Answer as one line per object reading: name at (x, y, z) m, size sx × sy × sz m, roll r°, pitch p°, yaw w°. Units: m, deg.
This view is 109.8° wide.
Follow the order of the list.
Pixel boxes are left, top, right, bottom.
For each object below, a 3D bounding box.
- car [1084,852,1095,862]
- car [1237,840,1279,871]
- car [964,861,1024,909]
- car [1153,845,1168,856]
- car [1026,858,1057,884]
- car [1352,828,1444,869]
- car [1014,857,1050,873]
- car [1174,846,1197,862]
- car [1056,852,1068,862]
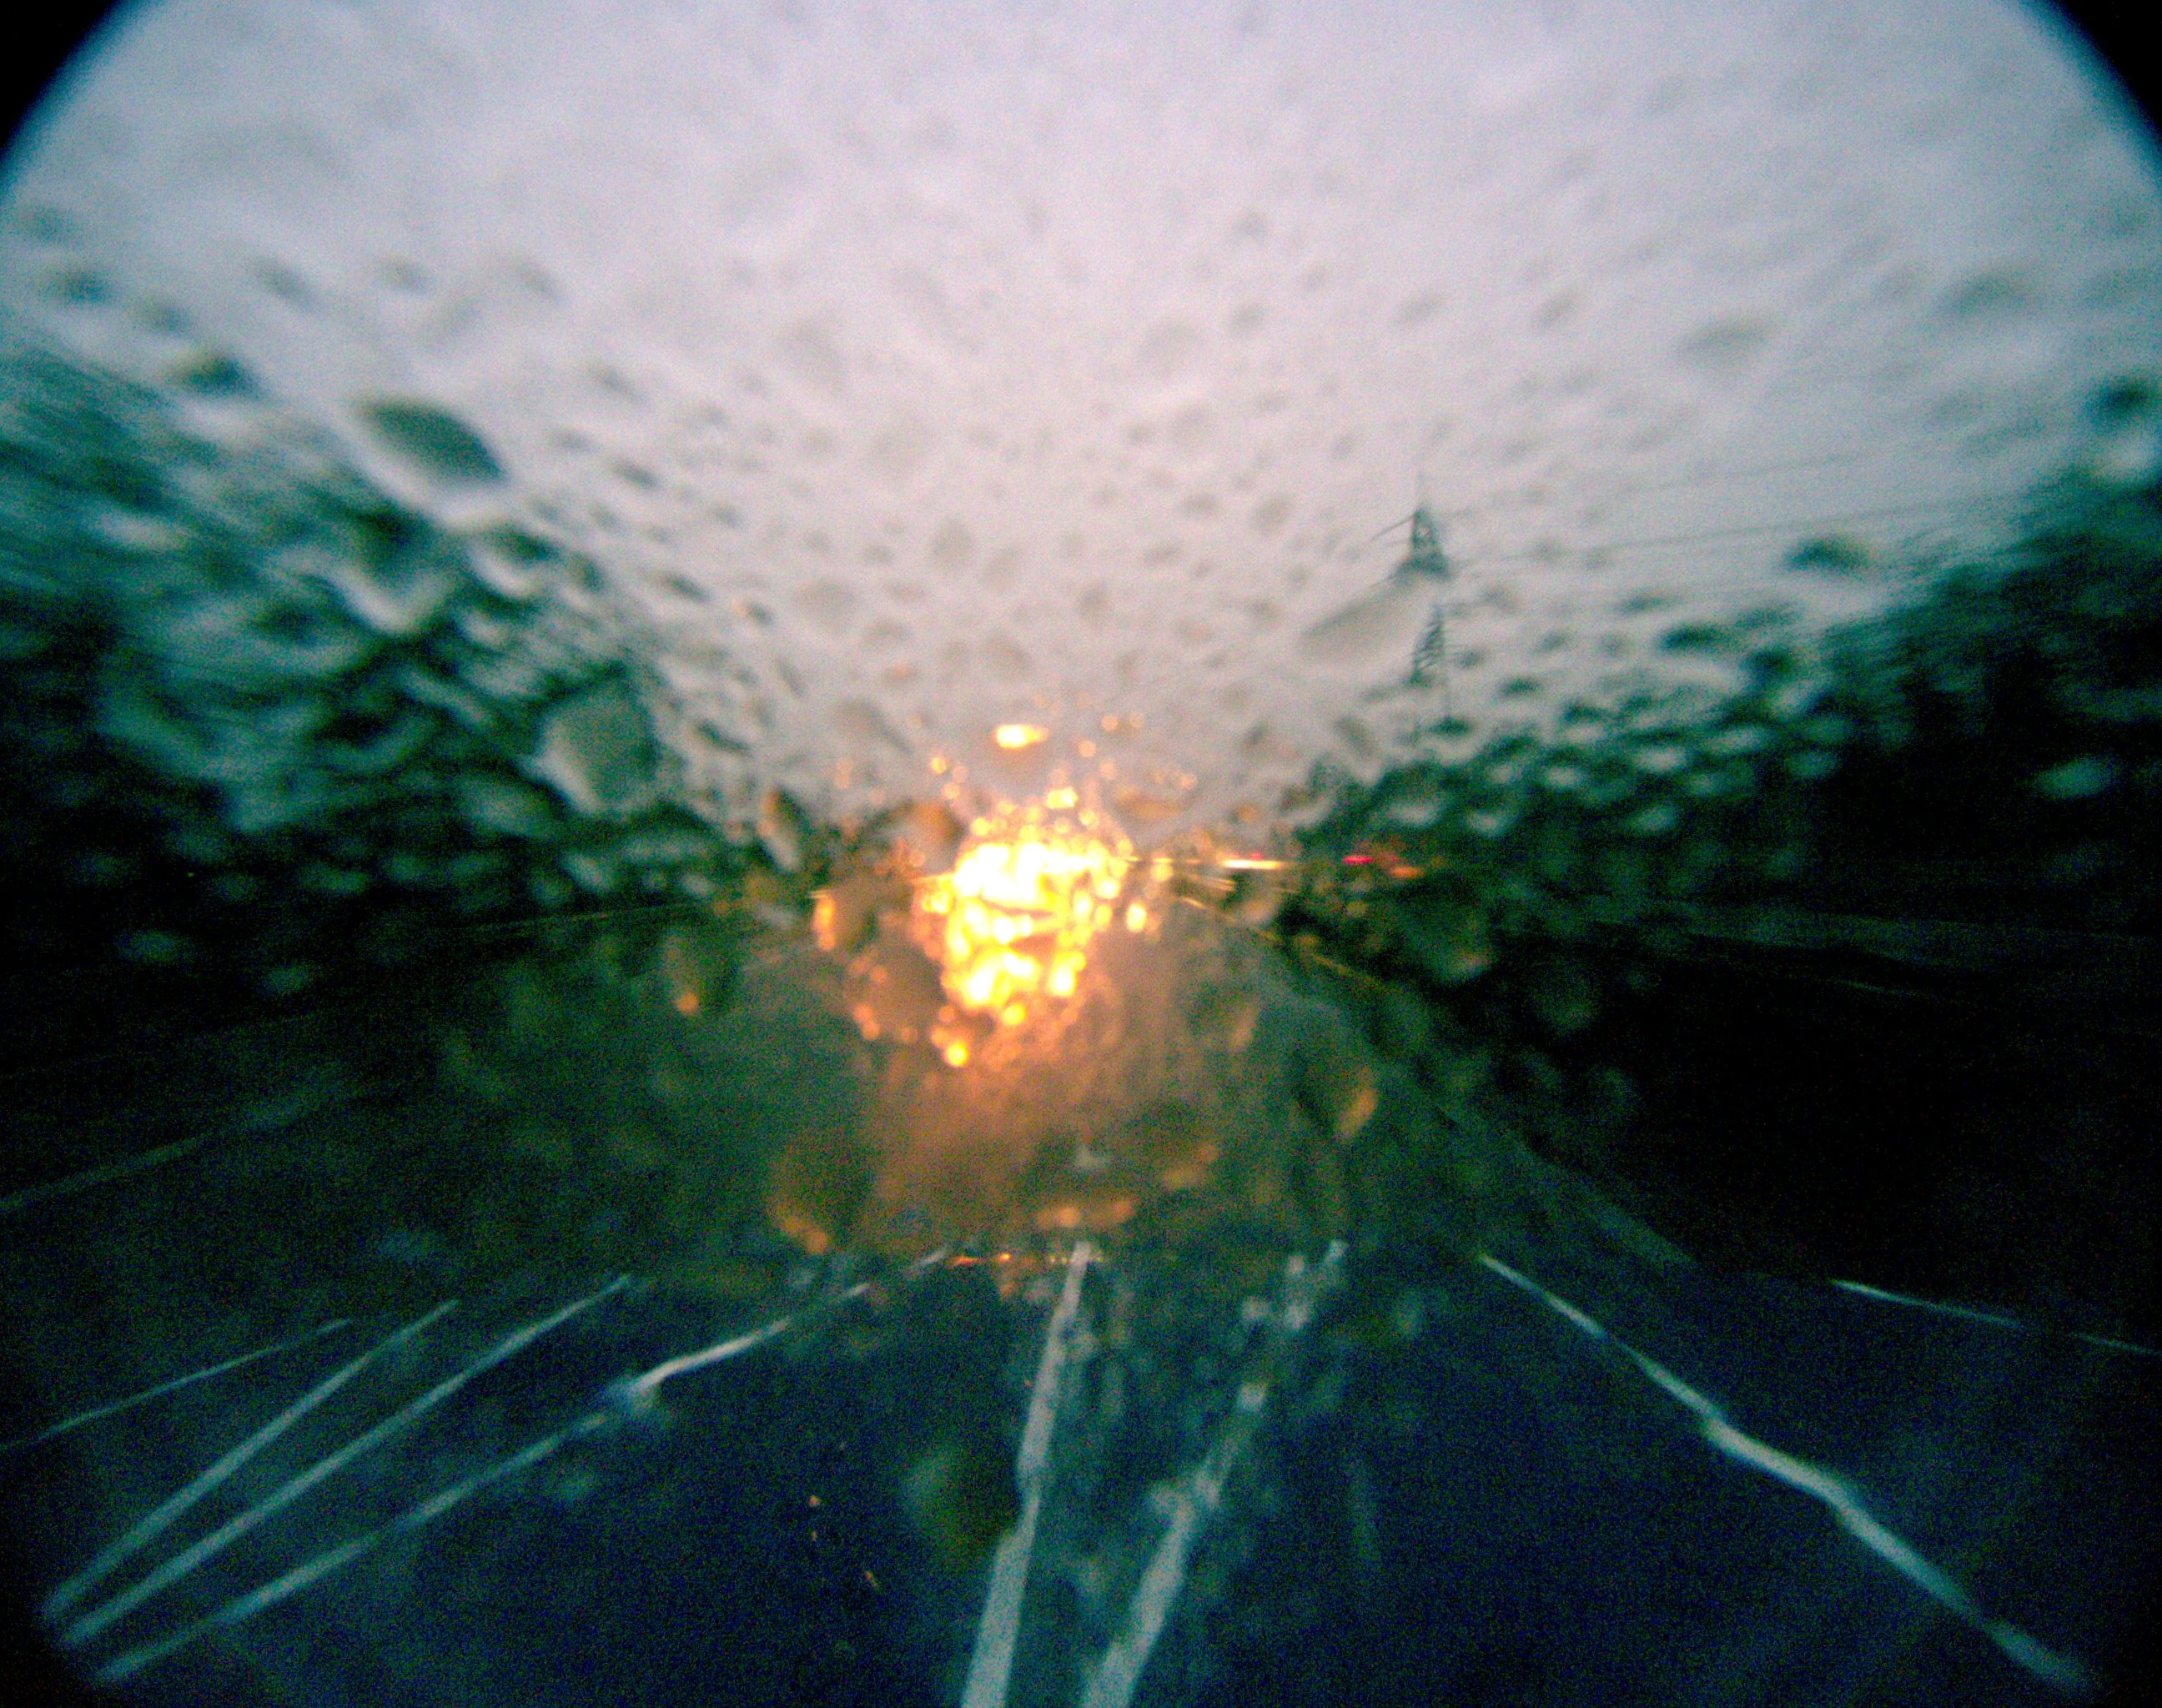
car at (1.405, 0.439, 119.641) m, size 1.631 × 1.466 × 4.000 m, roll -2°, pitch 0°, yaw 1°
car at (12.325, 0.121, 53.200) m, size 1.998 × 1.997 × 4.000 m, roll -2°, pitch 0°, yaw 1°
car at (-3.008, 1.041, 26.923) m, size 1.598 × 1.482 × 3.594 m, roll -3°, pitch 0°, yaw 1°
car at (12.554, -0.555, 119.696) m, size 1.998 × 1.572 × 4.000 m, roll -3°, pitch 1°, yaw 2°
car at (-2.556, 1.055, 49.454) m, size 1.682 × 1.500 × 3.808 m, roll -3°, pitch 0°, yaw 1°
car at (12.321, -0.196, 29.856) m, size 1.760 × 1.399 × 4.409 m, roll -3°, pitch 0°, yaw 0°
car at (-5.155, 1.163, 80.380) m, size 1.789 × 1.426 × 3.827 m, roll -3°, pitch 0°, yaw 35°
car at (11.947, -0.033, 87.326) m, size 1.998 × 1.758 × 3.999 m, roll -3°, pitch 1°, yaw 0°
car at (-3.188, 0.436, 127.118) m, size 1.802 × 1.494 × 3.999 m, roll -2°, pitch 1°, yaw 1°
